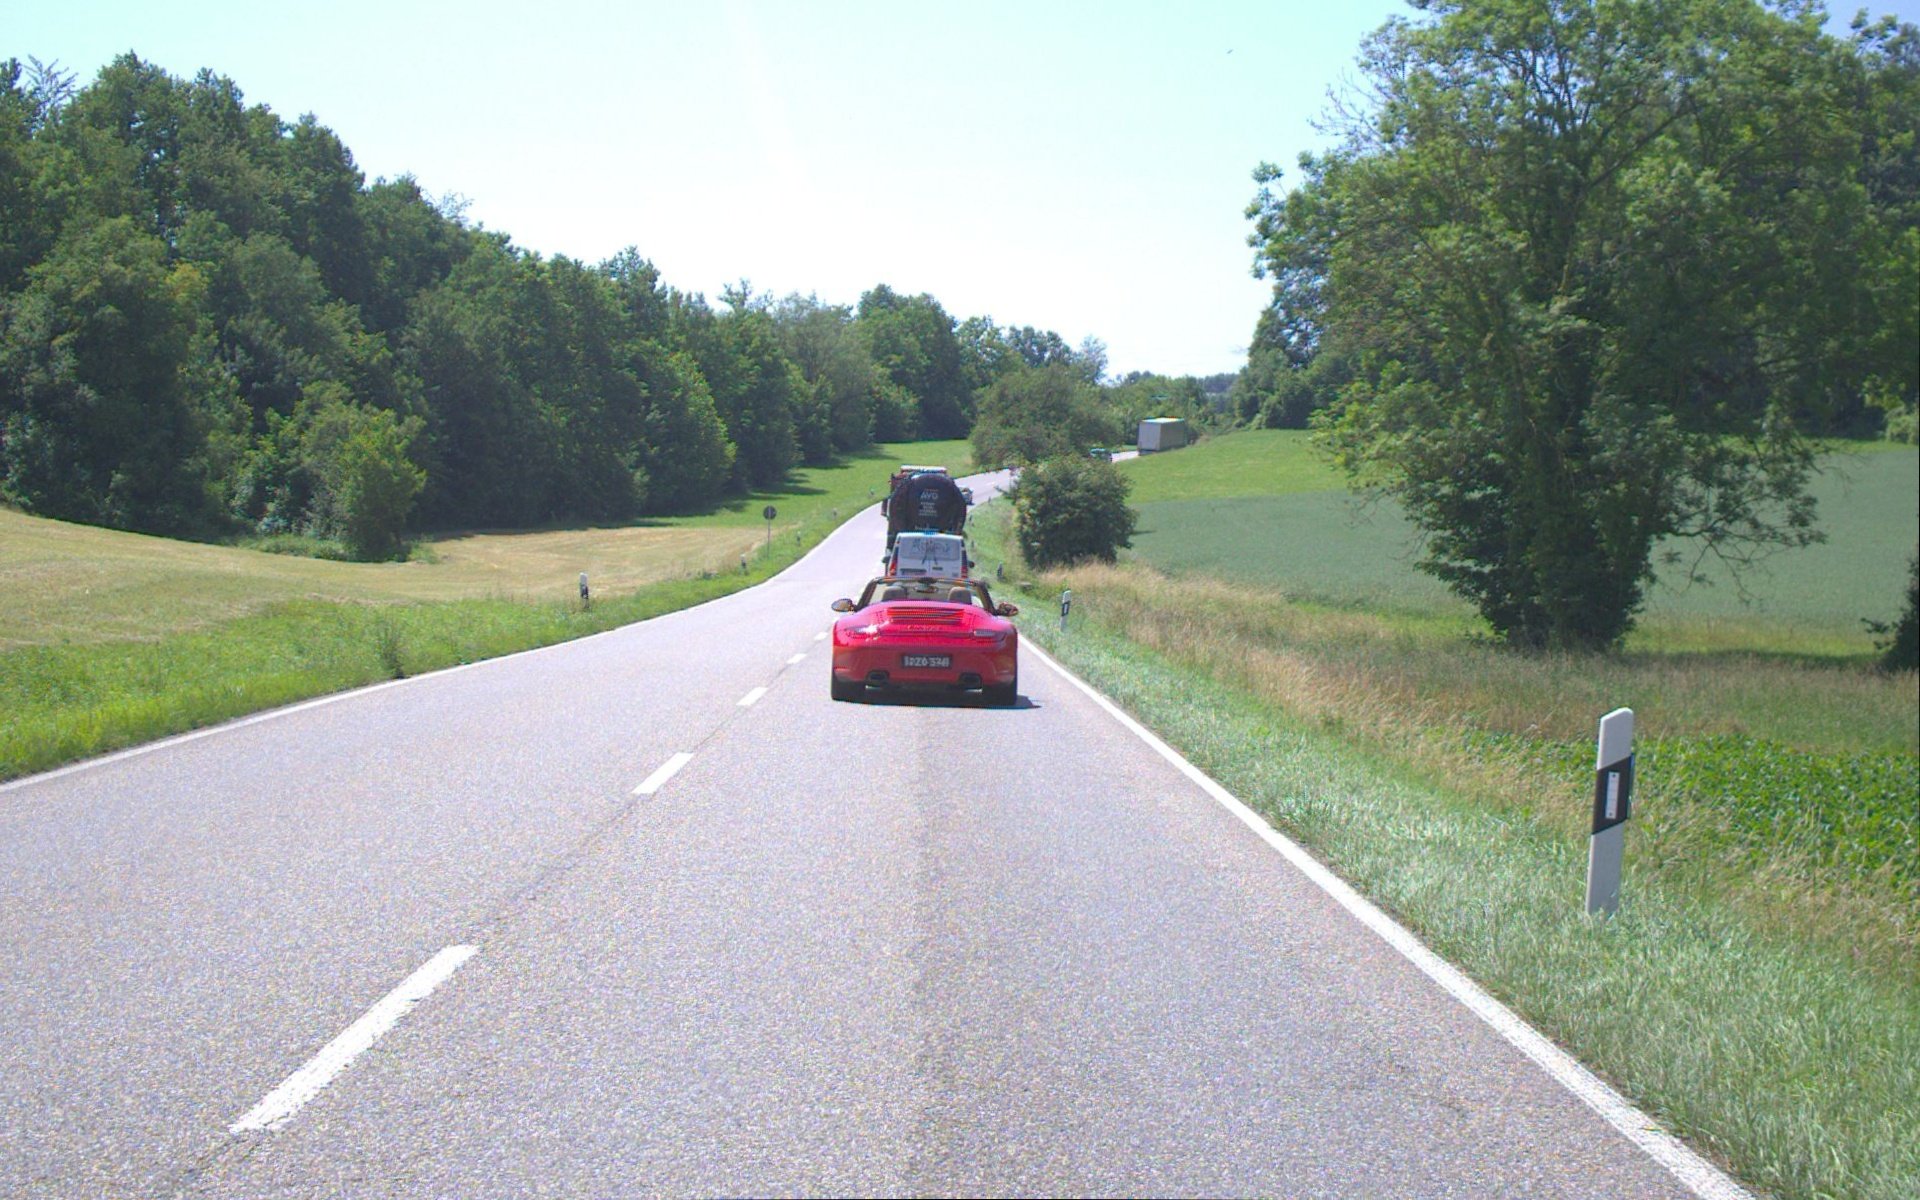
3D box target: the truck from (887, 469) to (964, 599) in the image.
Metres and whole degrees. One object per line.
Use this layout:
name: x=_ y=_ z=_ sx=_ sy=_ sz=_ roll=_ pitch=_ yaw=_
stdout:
truck: x=-1.239 y=-2.378 z=117.244 sx=2.404 sy=4.035 sz=12.553 roll=0 pitch=3 yaw=-2

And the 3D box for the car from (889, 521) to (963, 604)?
car: x=-0.781 y=-0.907 z=81.300 sx=1.678 sy=1.894 sz=4.010 roll=-1 pitch=1 yaw=0

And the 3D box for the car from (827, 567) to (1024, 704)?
car: x=-0.361 y=0.321 z=35.297 sx=1.882 sy=1.251 sz=4.010 roll=1 pitch=1 yaw=-1

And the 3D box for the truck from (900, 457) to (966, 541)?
truck: x=-1.624 y=-6.025 z=202.071 sx=3.725 sy=4.644 sz=12.033 roll=0 pitch=3 yaw=-1
